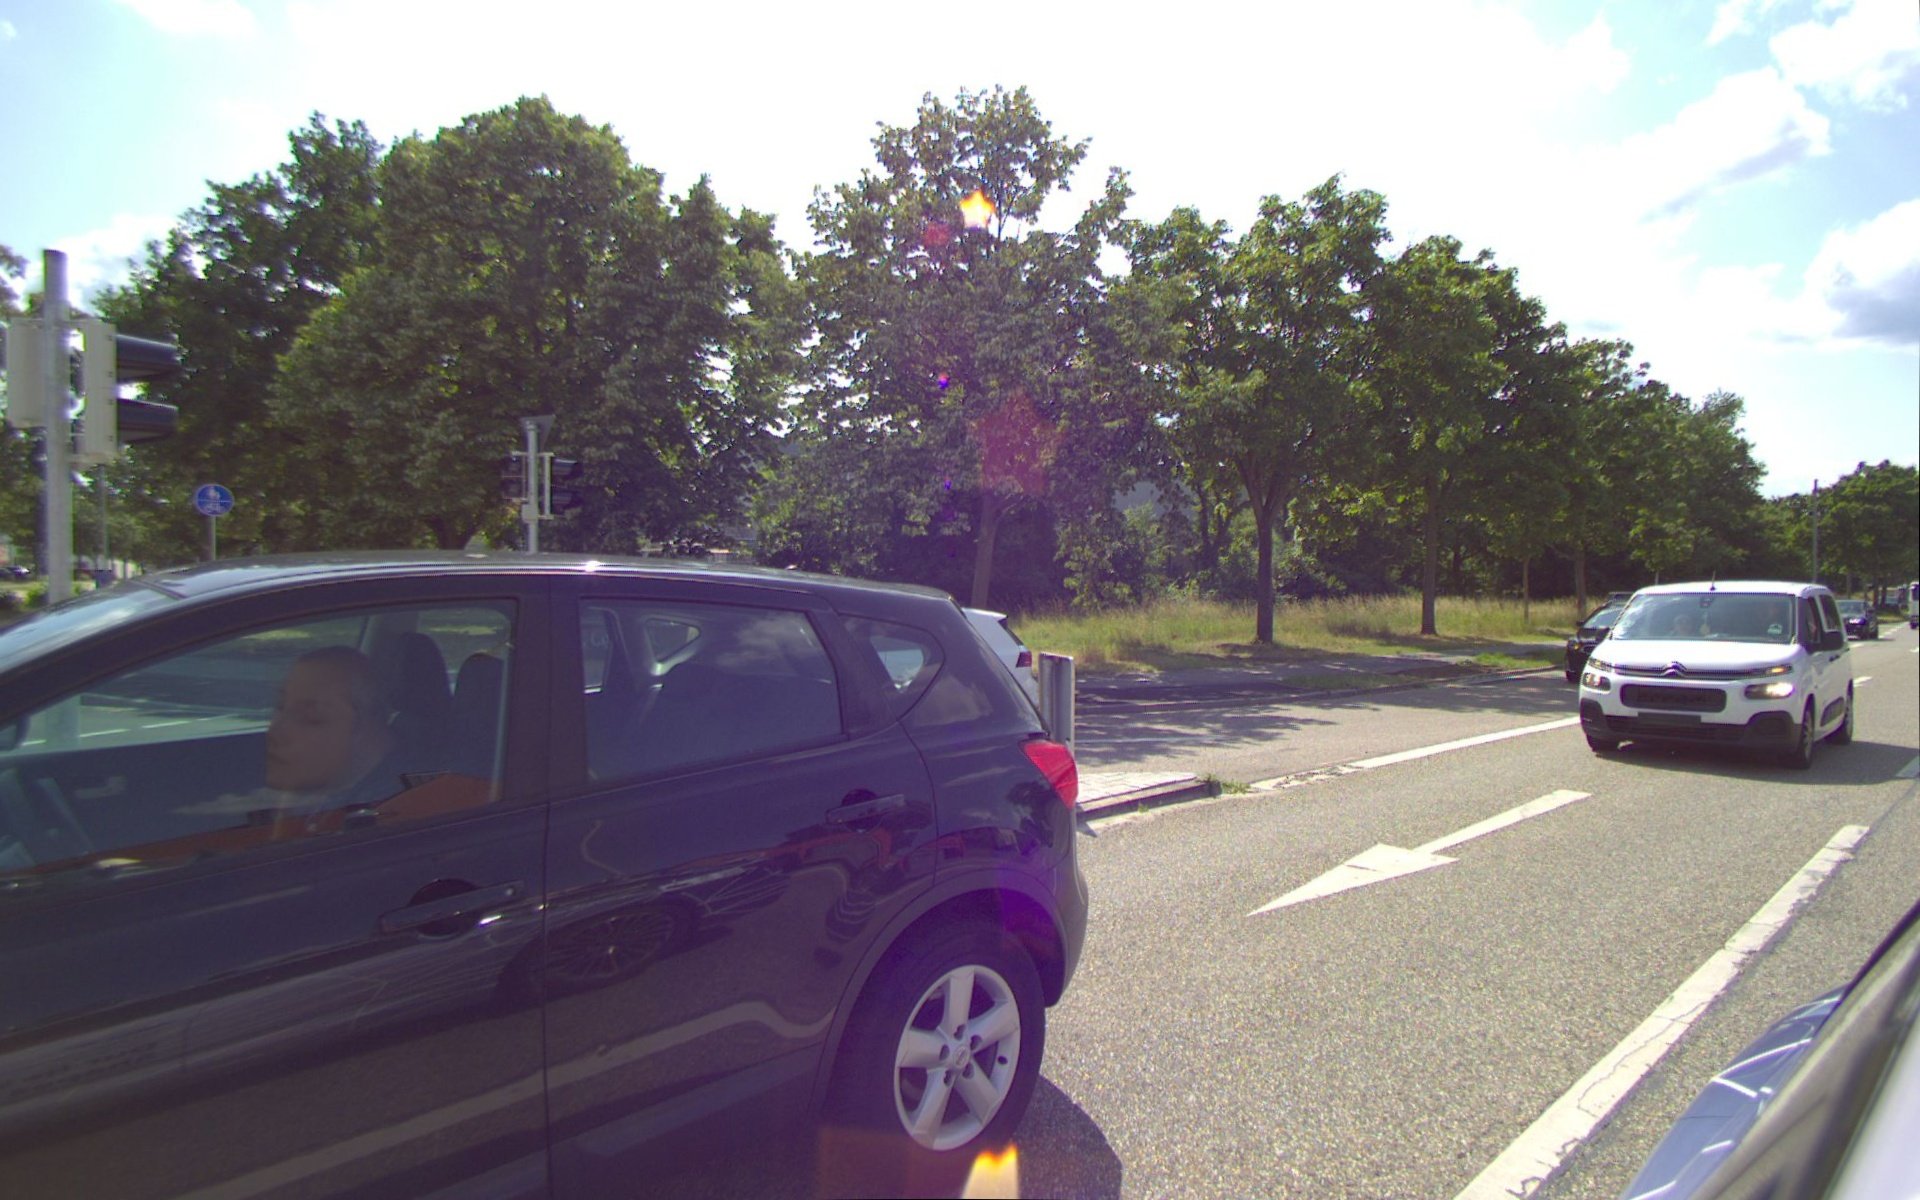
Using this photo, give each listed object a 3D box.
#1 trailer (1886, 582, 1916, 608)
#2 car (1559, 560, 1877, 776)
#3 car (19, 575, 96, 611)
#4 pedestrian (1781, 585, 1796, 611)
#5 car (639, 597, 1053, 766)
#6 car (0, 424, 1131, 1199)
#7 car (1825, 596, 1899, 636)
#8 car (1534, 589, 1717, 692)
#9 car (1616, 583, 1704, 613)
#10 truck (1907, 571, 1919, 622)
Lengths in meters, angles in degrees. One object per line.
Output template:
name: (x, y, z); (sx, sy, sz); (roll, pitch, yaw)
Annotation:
trailer: (87.991, -0.503, 94.617); (1.953, 2.380, 4.533); (2, 3, 44)
car: (8.214, 0.582, 10.781); (4.637, 1.808, 1.932); (0, -1, -44)
car: (-32.351, -0.238, 36.263); (1.884, 1.193, 3.768); (-1, 0, -44)
pedestrian: (58.834, -0.150, 71.856); (0.728, 1.816, 0.717); (-1, -1, -45)
car: (-1.223, 0.731, 10.575); (4.006, 1.505, 1.742); (0, 0, -19)
car: (-1.574, 0.565, 2.235); (3.933, 1.572, 1.801); (-2, 0, -43)
car: (37.365, 0.656, 41.912); (3.930, 1.509, 1.757); (-2, 0, -41)
car: (12.594, 0.676, 19.054); (4.164, 1.670, 1.768); (-2, 0, -41)
car: (42.442, -0.130, 61.393); (4.161, 1.511, 1.757); (5, 2, 41)
truck: (53.659, -0.272, 54.702); (7.224, 2.697, 2.845); (-2, 0, -41)
